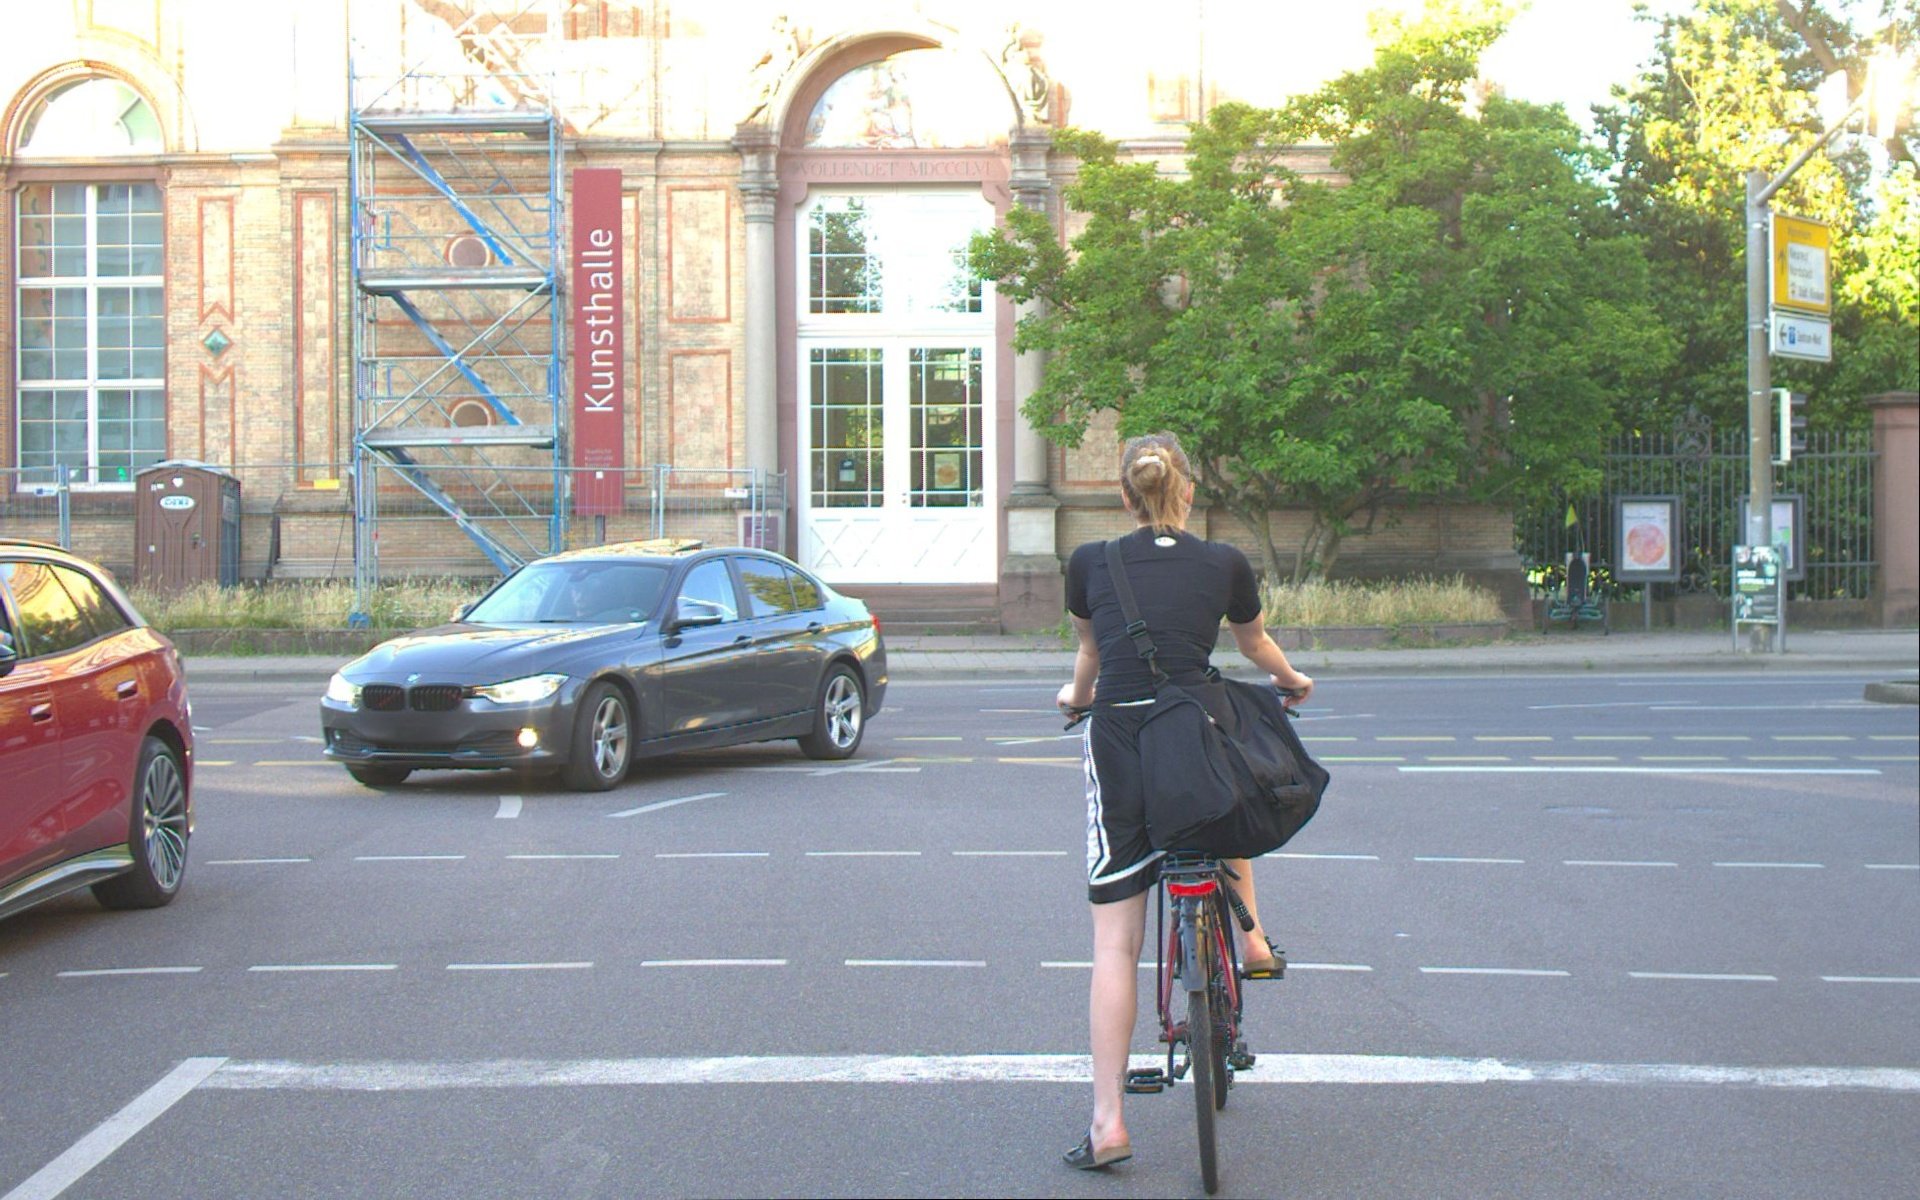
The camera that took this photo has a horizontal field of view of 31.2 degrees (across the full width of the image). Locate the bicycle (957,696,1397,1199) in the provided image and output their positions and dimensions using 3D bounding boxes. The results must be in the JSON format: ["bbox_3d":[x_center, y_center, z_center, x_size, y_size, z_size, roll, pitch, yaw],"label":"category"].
[{"bbox_3d":[0.587,0.833,8.376,0.712,1.152,2.067,0,0,14],"label":"bicycle"}]

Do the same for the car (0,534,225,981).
[{"bbox_3d":[-4.281,0.576,12.640,1.831,1.540,4.847,-1,2,3],"label":"car"}]

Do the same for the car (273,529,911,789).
[{"bbox_3d":[-2.191,0.303,21.765,1.785,1.454,4.416,-1,1,29],"label":"car"}]

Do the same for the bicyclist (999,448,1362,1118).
[{"bbox_3d":[0.541,0.413,8.178,0.716,1.497,0.850,0,-1,14],"label":"bicyclist"}]
